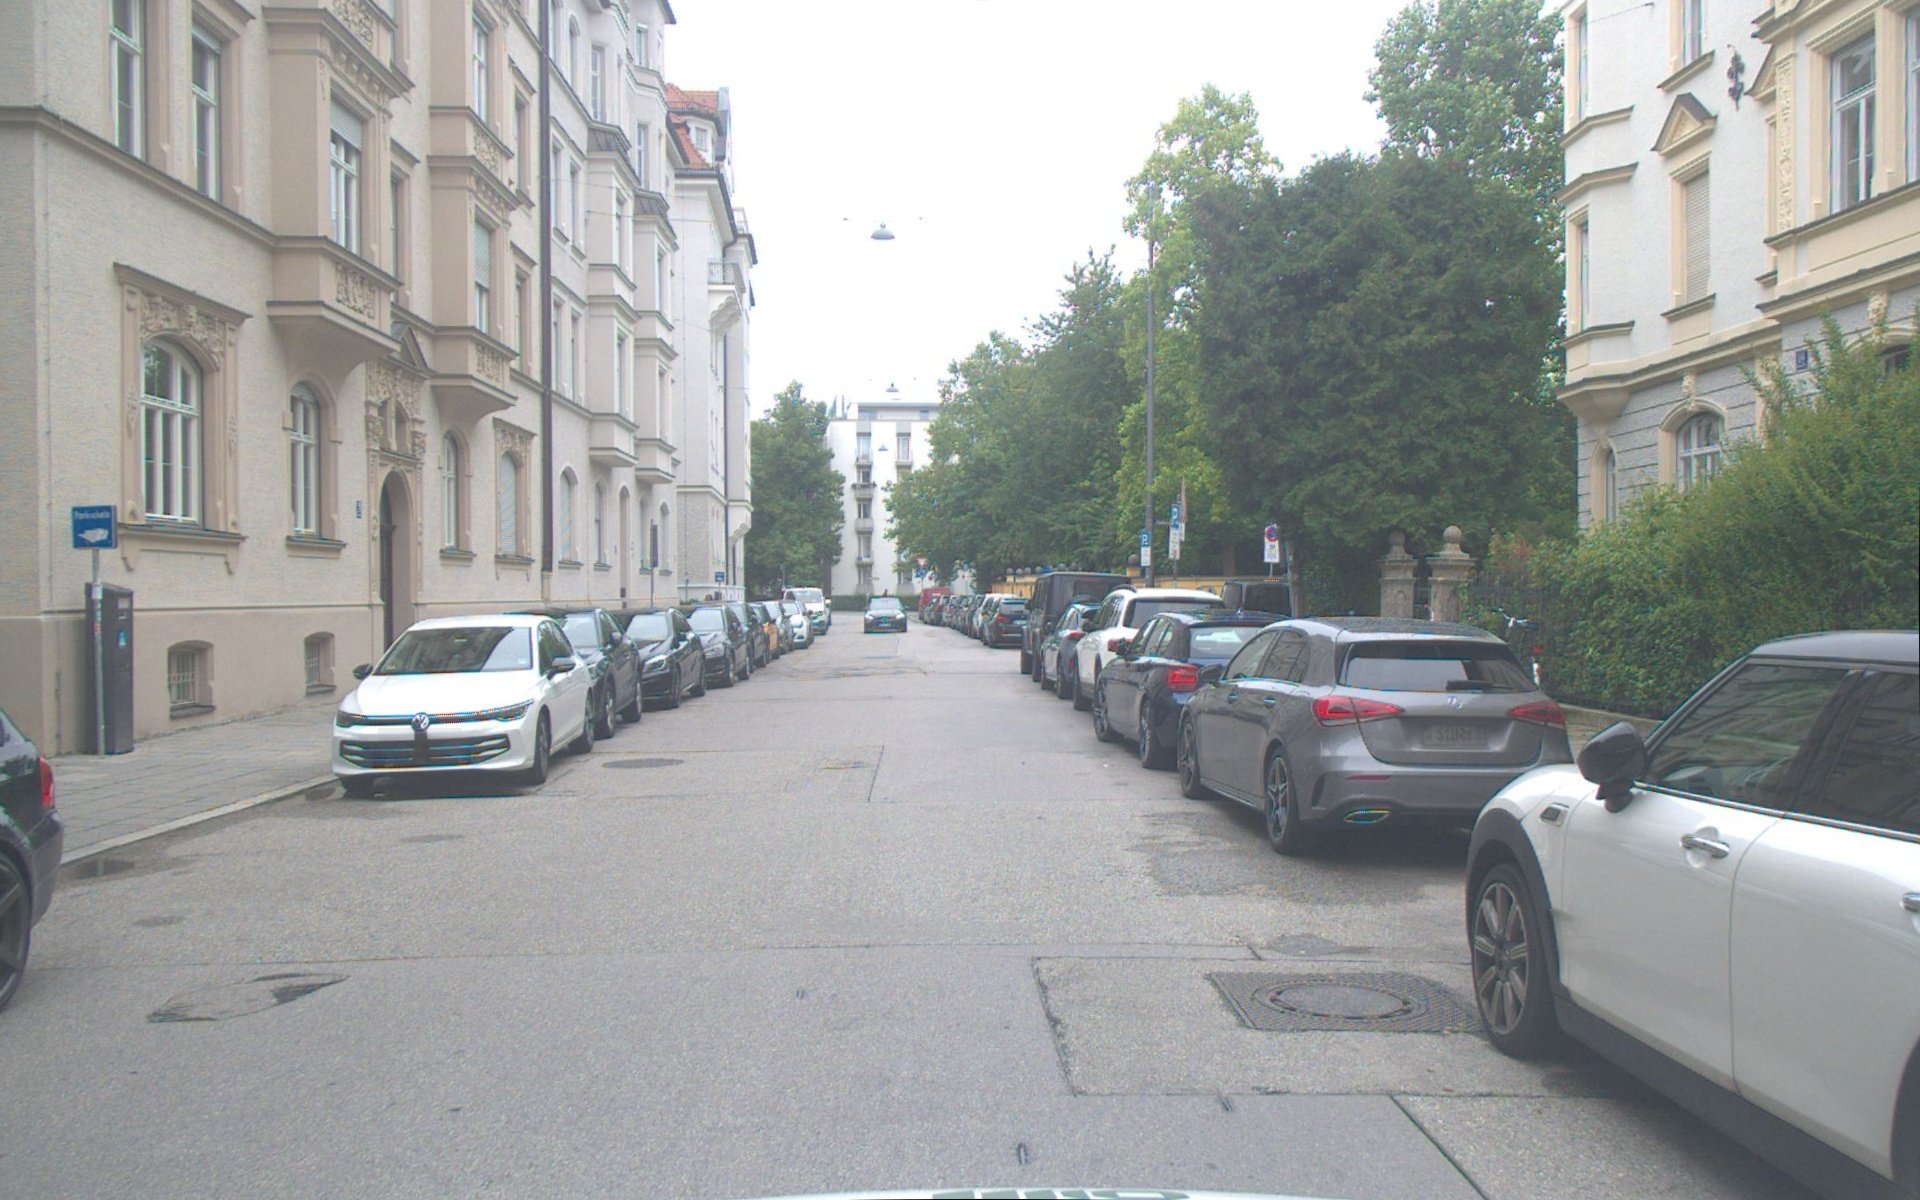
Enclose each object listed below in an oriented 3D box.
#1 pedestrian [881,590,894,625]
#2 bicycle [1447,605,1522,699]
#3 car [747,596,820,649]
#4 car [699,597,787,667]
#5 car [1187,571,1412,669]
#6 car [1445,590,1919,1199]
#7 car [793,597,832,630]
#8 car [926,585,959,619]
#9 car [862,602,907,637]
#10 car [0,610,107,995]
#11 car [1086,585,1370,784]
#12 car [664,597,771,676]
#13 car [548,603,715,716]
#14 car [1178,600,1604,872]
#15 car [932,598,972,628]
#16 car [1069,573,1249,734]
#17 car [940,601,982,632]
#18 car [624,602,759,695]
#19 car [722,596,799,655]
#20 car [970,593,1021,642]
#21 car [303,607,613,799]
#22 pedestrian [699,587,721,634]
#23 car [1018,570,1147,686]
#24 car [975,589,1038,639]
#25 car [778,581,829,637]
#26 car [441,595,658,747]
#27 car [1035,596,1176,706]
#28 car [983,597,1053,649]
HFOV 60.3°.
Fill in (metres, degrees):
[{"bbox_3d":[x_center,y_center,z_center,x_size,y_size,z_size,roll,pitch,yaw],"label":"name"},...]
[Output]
[{"bbox_3d":[-4.771,0.496,109.524,0.825,2.325,0.842,0,0,-2],"label":"pedestrian"},{"bbox_3d":[6.508,0.629,20.567,0.445,1.118,1.313,0,0,-3],"label":"bicycle"},{"bbox_3d":[-5.447,0.664,51.379,1.799,1.463,4.274,-3,0,-1],"label":"car"},{"bbox_3d":[-5.318,0.752,40.913,1.607,1.525,3.971,-3,0,0],"label":"car"},{"bbox_3d":[7.363,0.408,36.087,4.444,1.984,1.900,-1,2,-8],"label":"car"},{"bbox_3d":[2.739,0.757,4.174,1.748,1.531,4.064,1,0,-1],"label":"car"},{"bbox_3d":[-8.293,0.748,93.453,1.975,1.662,4.411,-3,0,-3],"label":"car"},{"bbox_3d":[-1.045,0.086,99.801,1.799,1.960,4.005,2,0,1],"label":"car"},{"bbox_3d":[-3.239,0.802,70.488,1.837,1.453,4.405,0,0,-4],"label":"car"},{"bbox_3d":[-4.449,0.783,4.842,1.751,1.437,4.365,0,0,-2],"label":"car"},{"bbox_3d":[2.450,0.702,16.243,1.716,1.639,4.419,2,1,-5],"label":"car"},{"bbox_3d":[-5.172,0.743,35.750,1.718,1.526,4.018,-2,0,-1],"label":"car"},{"bbox_3d":[-4.905,0.831,25.285,1.797,1.459,4.551,-2,1,-3],"label":"car"},{"bbox_3d":[2.725,0.779,11.406,1.650,1.531,4.015,1,0,-4],"label":"car"},{"bbox_3d":[-0.438,0.687,87.812,1.802,1.545,3.943,1,-1,-5],"label":"car"},{"bbox_3d":[2.472,0.642,21.530,1.688,1.800,4.412,2,-1,-1],"label":"car"},{"bbox_3d":[0.023,0.831,83.803,1.802,1.545,3.943,1,-1,-5],"label":"car"},{"bbox_3d":[-4.852,0.836,30.425,1.799,1.461,4.244,-3,0,-1],"label":"car"},{"bbox_3d":[-5.562,0.698,46.481,1.691,1.526,3.929,-2,0,-1],"label":"car"},{"bbox_3d":[1.235,0.621,59.155,1.484,1.690,3.671,1,-1,-4],"label":"car"},{"bbox_3d":[-4.558,0.853,15.689,1.800,1.459,4.242,-2,1,-3],"label":"car"},{"bbox_3d":[-9.323,0.390,61.602,0.777,1.708,0.699,-1,0,-8],"label":"pedestrian"},{"bbox_3d":[2.222,0.456,31.294,1.911,1.988,4.664,1,1,-2],"label":"car"},{"bbox_3d":[1.506,0.451,54.435,1.620,1.545,3.791,1,-1,-5],"label":"car"},{"bbox_3d":[-6.569,0.355,69.852,1.849,2.164,4.703,-3,0,-3],"label":"car"},{"bbox_3d":[-4.901,0.769,20.349,1.735,1.544,4.382,-3,1,-3],"label":"car"},{"bbox_3d":[2.238,0.768,26.279,1.689,1.545,3.628,2,-1,-3],"label":"car"},{"bbox_3d":[1.688,0.664,49.193,1.801,1.438,4.341,1,-1,-2],"label":"car"}]
